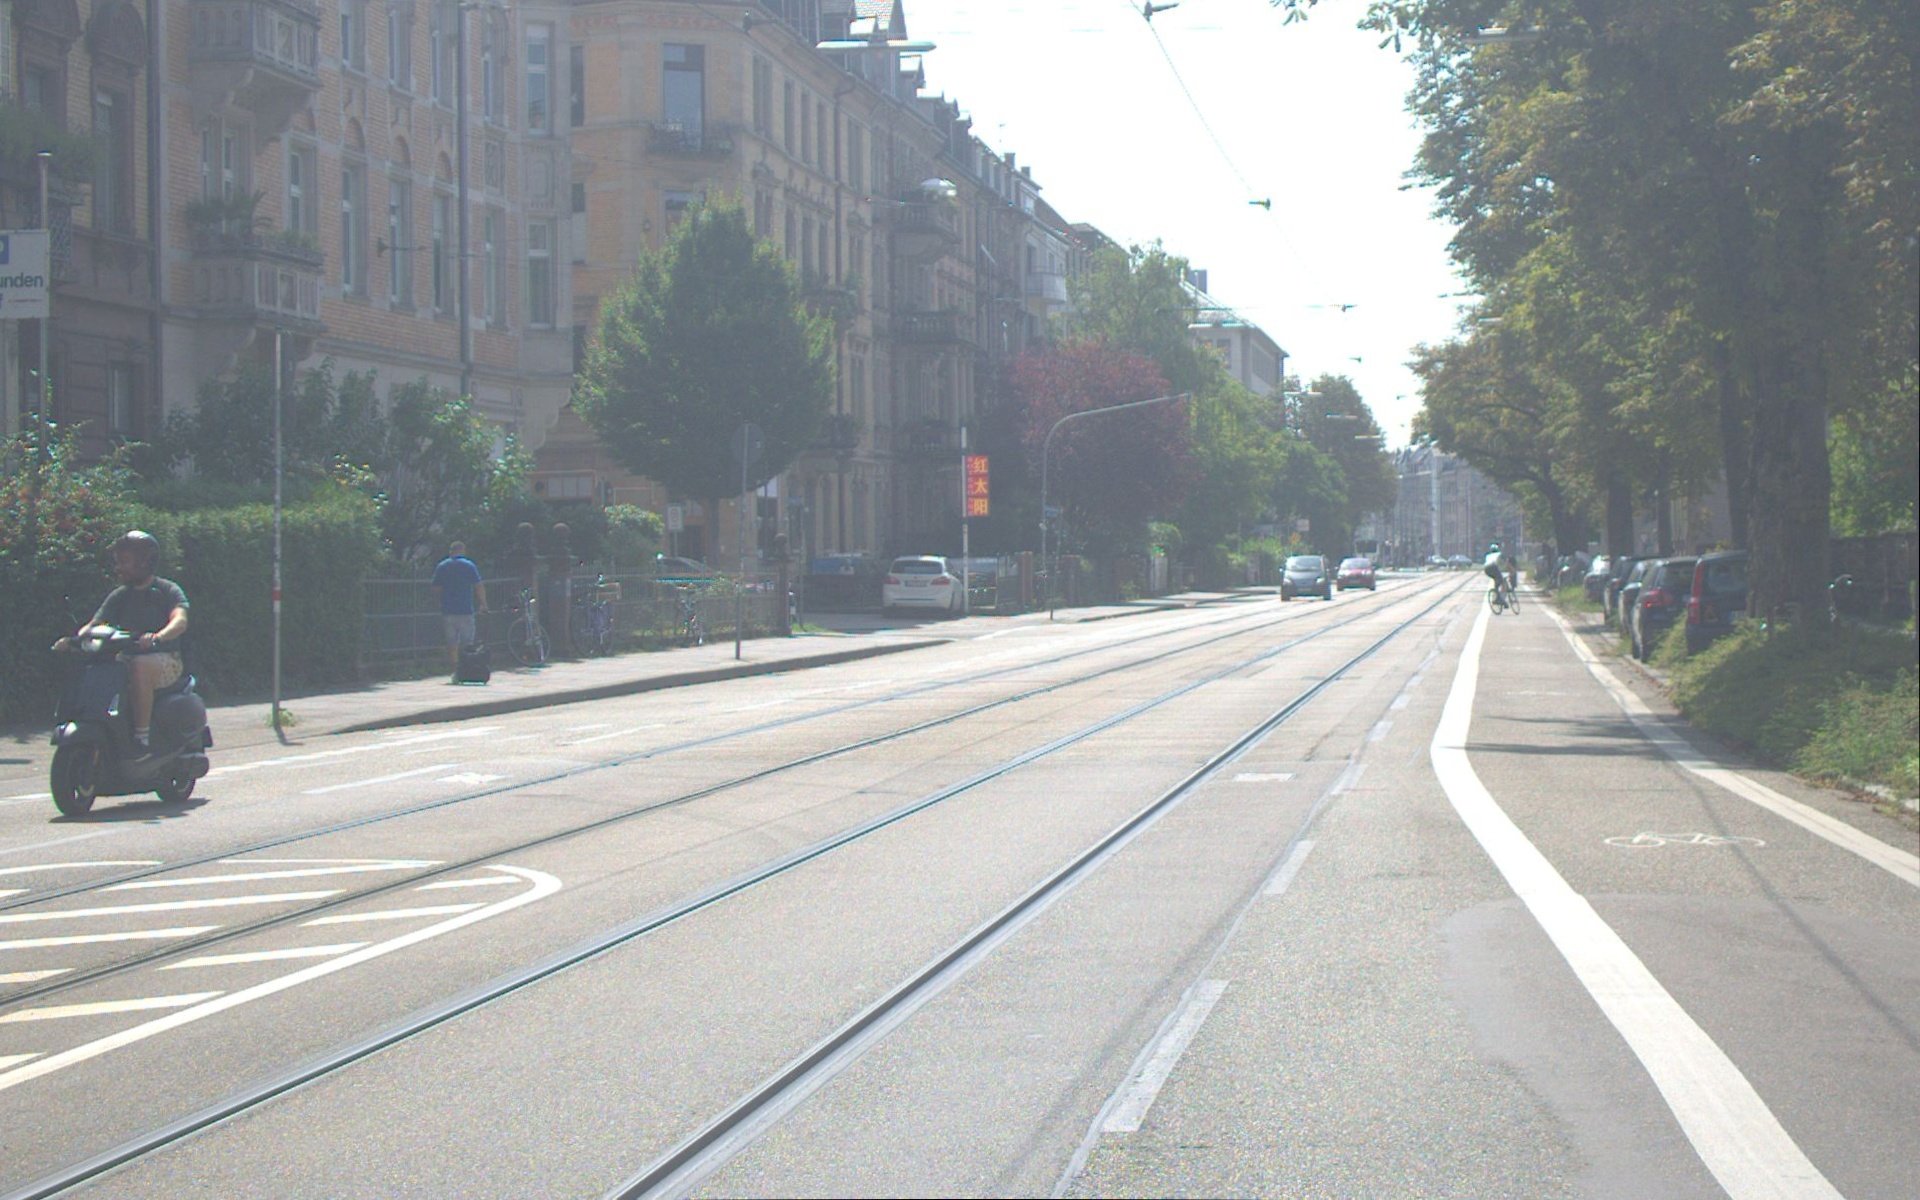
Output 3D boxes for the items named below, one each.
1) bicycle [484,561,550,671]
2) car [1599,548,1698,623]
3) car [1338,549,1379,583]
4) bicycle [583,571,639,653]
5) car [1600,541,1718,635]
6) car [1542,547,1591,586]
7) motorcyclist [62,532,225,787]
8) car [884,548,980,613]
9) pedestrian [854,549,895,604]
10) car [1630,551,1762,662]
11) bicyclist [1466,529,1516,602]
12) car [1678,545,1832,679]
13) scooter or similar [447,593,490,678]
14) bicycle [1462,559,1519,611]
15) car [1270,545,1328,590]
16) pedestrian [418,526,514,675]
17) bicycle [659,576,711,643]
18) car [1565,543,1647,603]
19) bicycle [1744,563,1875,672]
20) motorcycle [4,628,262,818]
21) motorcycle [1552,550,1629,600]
[{"bbox_3d":[-5.806,0.202,45.096,0.390,1.401,1.581,0,1,10],"label":"bicycle"},{"bbox_3d":[14.108,-0.326,70.637,1.756,1.472,4.385,-1,1,8],"label":"car"},{"bbox_3d":[18.379,-1.561,158.427,1.732,1.485,3.999,-1,1,9],"label":"car"},{"bbox_3d":[-5.034,0.163,49.624,0.390,1.144,1.581,0,1,10],"label":"bicycle"},{"bbox_3d":[12.238,-0.222,60.383,1.756,1.472,4.456,-4,0,9],"label":"car"},{"bbox_3d":[25.045,-1.371,141.982,1.841,1.527,4.778,-2,0,9],"label":"car"},{"bbox_3d":[-4.931,0.349,20.798,0.689,1.506,0.772,0,1,10],"label":"motorcyclist"},{"bbox_3d":[-0.688,-0.508,88.138,1.994,1.589,4.359,-1,1,6],"label":"car"},{"bbox_3d":[-2.363,-0.645,95.180,0.883,1.506,0.870,-1,1,-22],"label":"pedestrian"},{"bbox_3d":[10.572,0.068,49.579,1.617,1.472,4.037,-2,1,9],"label":"car"},{"bbox_3d":[13.375,-0.859,86.603,1.126,1.830,0.955,0,0,15],"label":"bicyclist"},{"bbox_3d":[9.694,0.120,41.782,1.618,1.525,3.496,-2,0,16],"label":"car"},{"bbox_3d":[-5.758,0.408,40.311,0.400,0.979,0.584,1,0,1],"label":"scooter or similar"},{"bbox_3d":[13.384,-0.378,86.610,1.148,1.265,2.710,-1,1,14],"label":"bicycle"},{"bbox_3d":[12.135,-1.163,122.895,1.827,1.535,3.999,-1,1,9],"label":"car"},{"bbox_3d":[-5.871,0.002,40.903,0.883,1.750,0.870,0,1,9],"label":"pedestrian"},{"bbox_3d":[-4.423,0.150,55.348,0.390,1.035,1.832,0,1,10],"label":"bicycle"},{"bbox_3d":[16.536,-0.702,88.229,1.893,1.472,4.839,-1,1,9],"label":"car"},{"bbox_3d":[8.861,0.178,35.857,1.387,1.104,0.389,-1,1,-26],"label":"bicycle"},{"bbox_3d":[-4.945,0.711,20.709,0.691,1.027,2.156,0,1,10],"label":"motorcycle"},{"bbox_3d":[20.441,-0.807,111.455,0.966,1.535,2.345,-1,-2,-39],"label":"motorcycle"}]
